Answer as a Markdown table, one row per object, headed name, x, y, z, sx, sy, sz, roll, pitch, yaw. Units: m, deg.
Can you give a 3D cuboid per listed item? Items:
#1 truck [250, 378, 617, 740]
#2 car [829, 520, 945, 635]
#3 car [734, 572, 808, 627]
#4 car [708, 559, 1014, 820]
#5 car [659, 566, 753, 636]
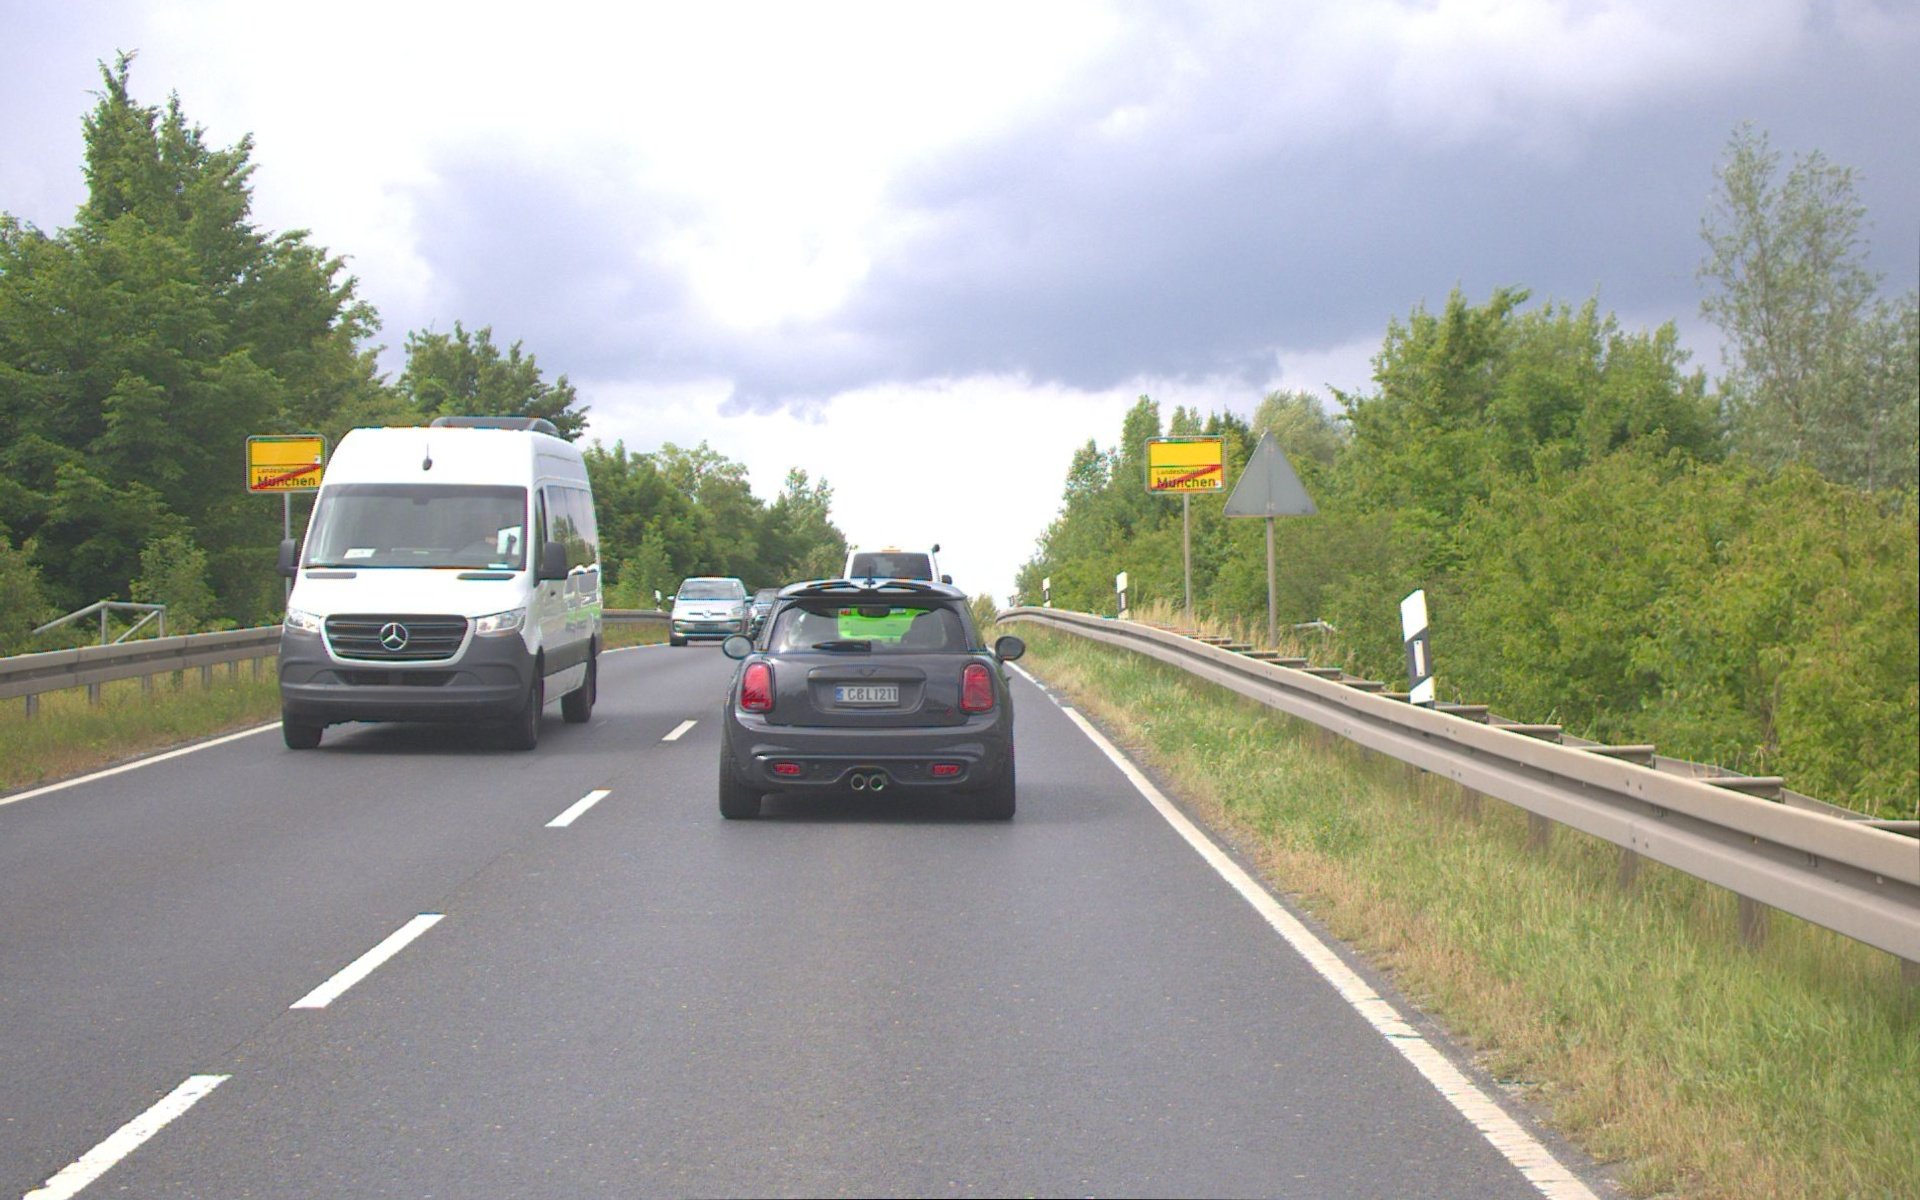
| name | x | y | z | sx | sy | sz | roll | pitch | yaw |
| --- | --- | --- | --- | --- | --- | --- | --- | --- | --- |
| truck | -4.359 | -0.375 | 29.676 | 2.065 | 2.733 | 7.007 | 1 | 1 | 0 |
| car | -1.298 | -0.410 | 62.052 | 2.022 | 2.006 | 4.000 | 0 | 1 | 0 |
| car | -5.043 | -0.005 | 92.179 | 1.835 | 1.415 | 4.000 | 1 | 0 | -1 |
| car | -0.580 | 0.485 | 21.566 | 1.732 | 1.451 | 4.000 | 0 | 1 | 0 |
| car | -5.408 | 0.021 | 73.570 | 1.835 | 1.440 | 4.000 | 1 | 0 | -2 |
